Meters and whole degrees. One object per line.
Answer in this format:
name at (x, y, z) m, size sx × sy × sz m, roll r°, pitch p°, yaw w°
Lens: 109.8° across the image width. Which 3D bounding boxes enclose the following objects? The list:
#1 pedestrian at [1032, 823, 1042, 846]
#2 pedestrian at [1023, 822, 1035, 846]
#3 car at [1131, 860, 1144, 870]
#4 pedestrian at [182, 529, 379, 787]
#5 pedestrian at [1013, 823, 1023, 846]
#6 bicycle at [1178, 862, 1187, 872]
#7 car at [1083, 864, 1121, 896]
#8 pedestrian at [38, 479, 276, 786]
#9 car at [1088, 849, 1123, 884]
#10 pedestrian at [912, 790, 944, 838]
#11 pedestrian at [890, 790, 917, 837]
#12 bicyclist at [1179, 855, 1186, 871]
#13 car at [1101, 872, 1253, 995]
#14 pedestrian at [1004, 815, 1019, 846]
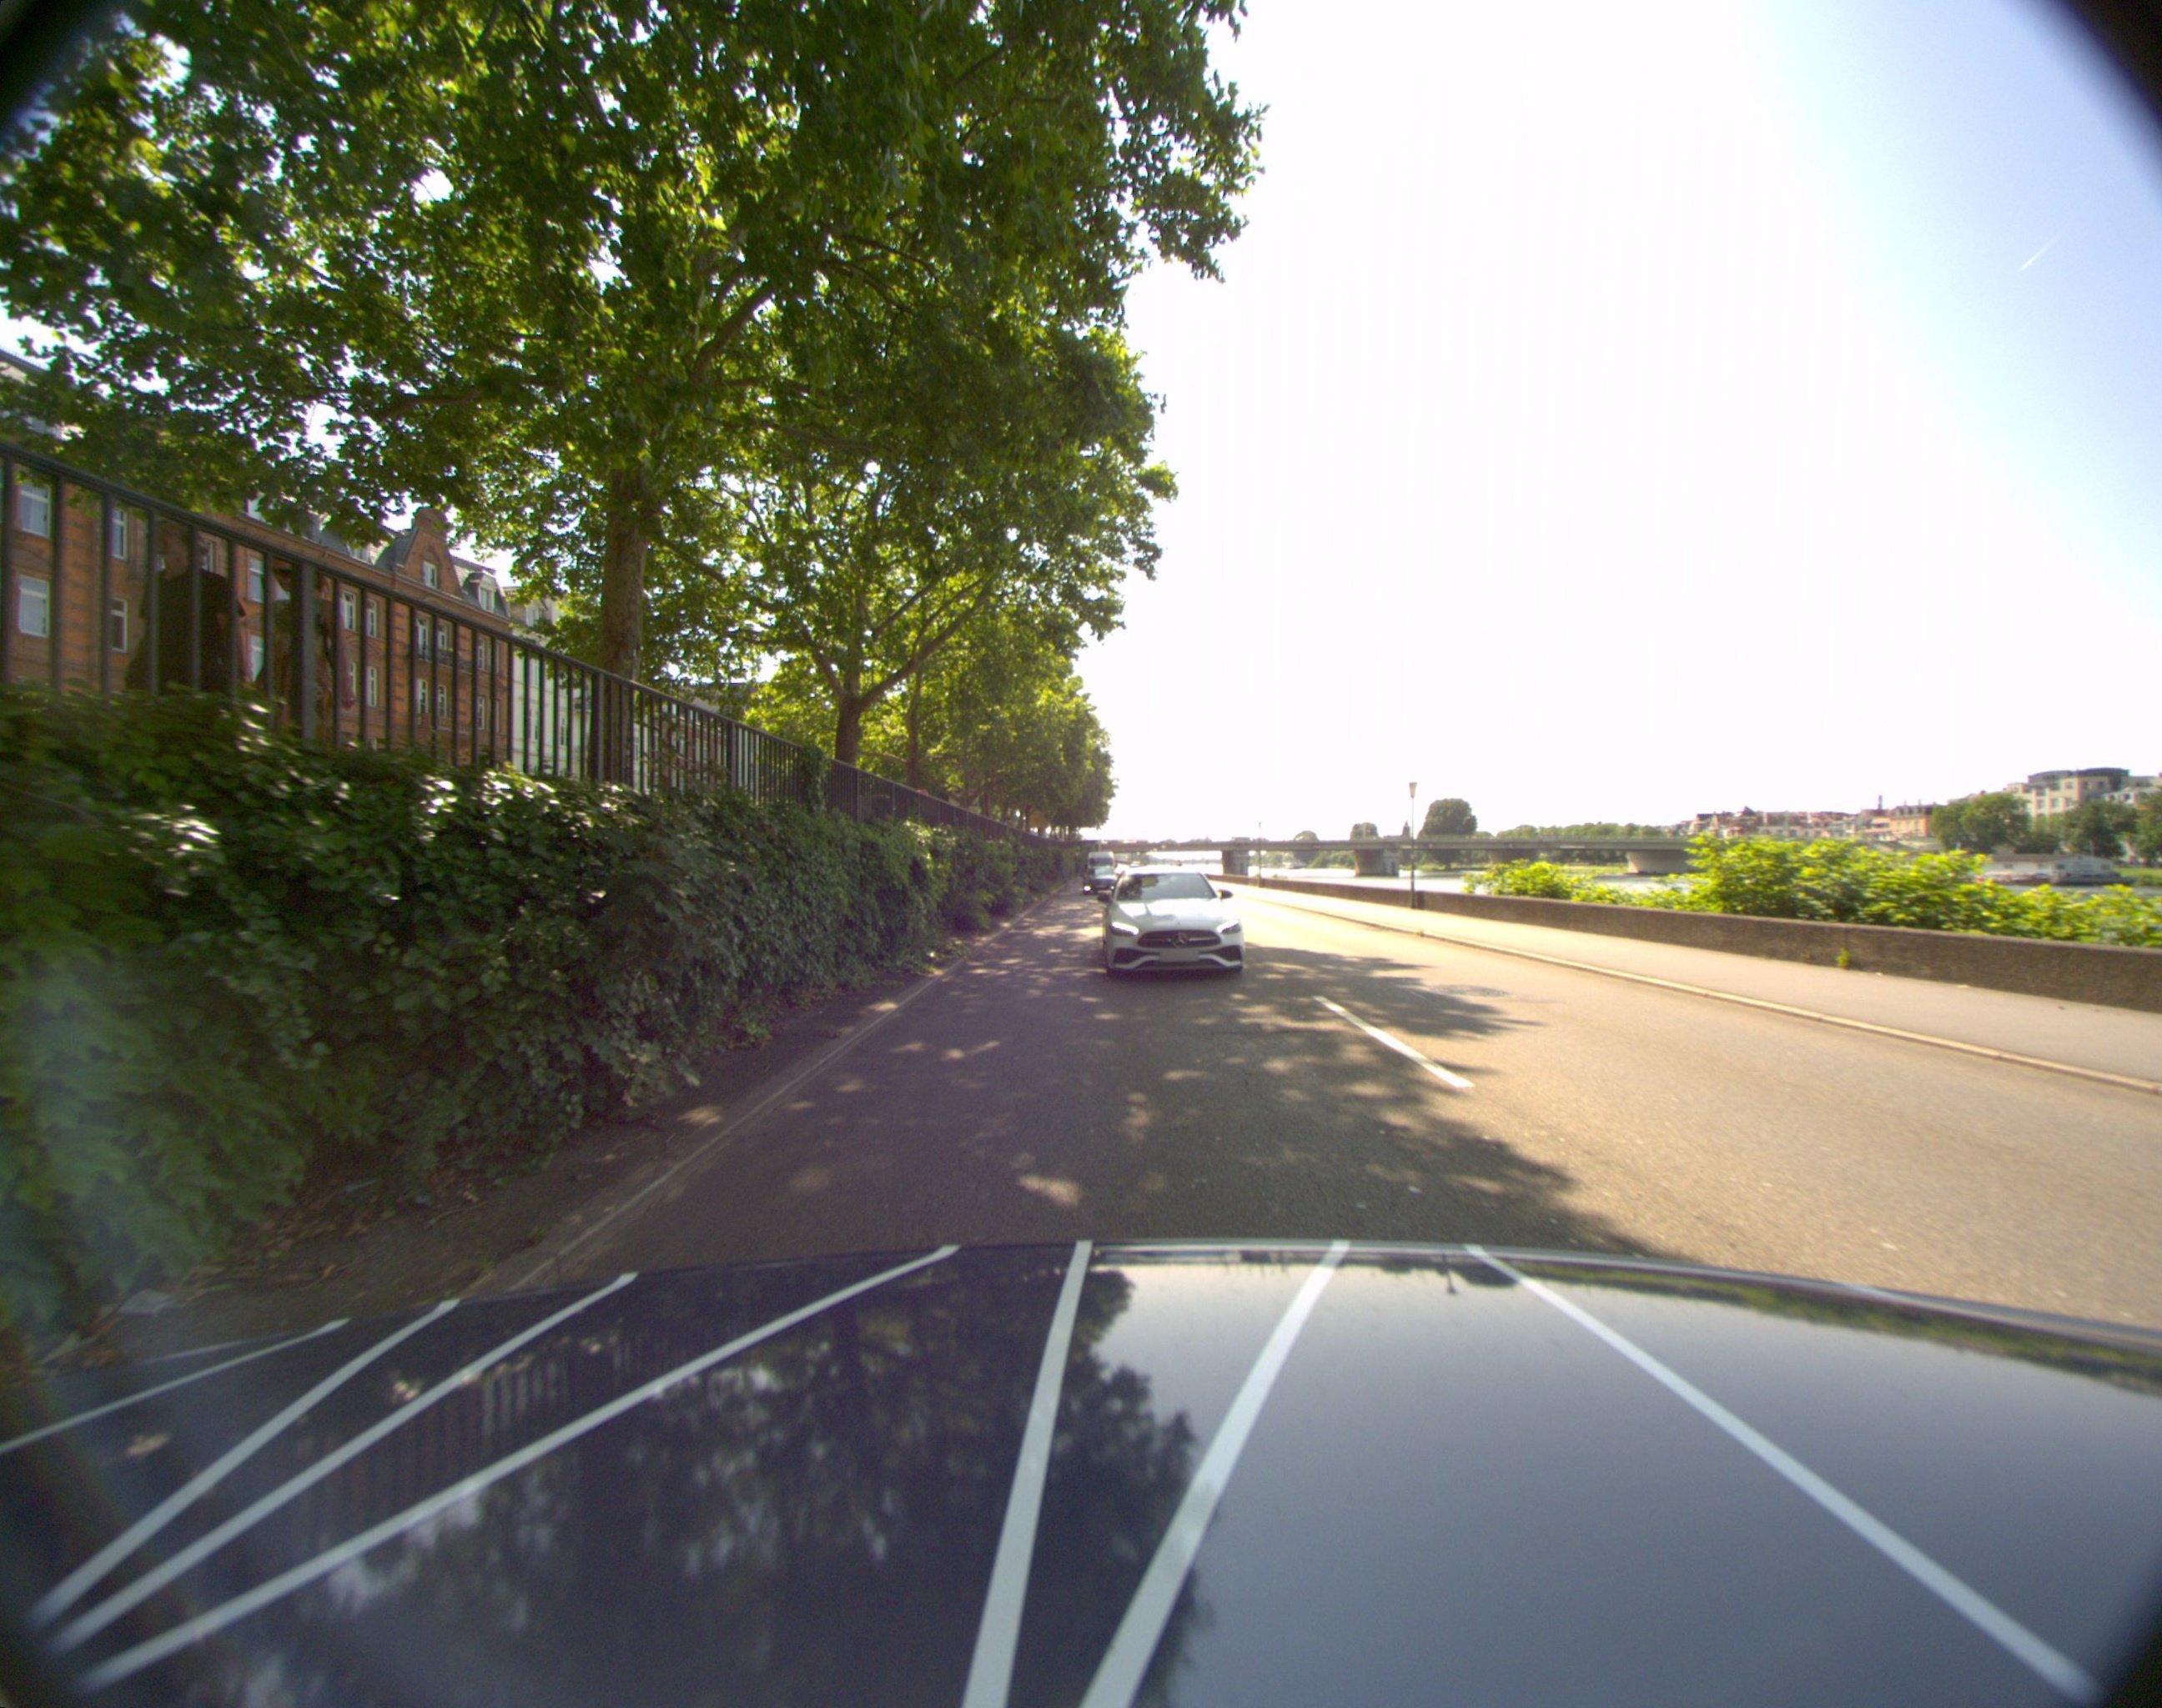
pedestrian at (-3.104, -1.371, 53.282) m, size 0.666 × 1.582 × 0.765 m, roll 0°, pitch 0°, yaw 1°
pedestrian at (-3.564, -1.364, 52.415) m, size 0.738 × 1.582 × 0.811 m, roll 0°, pitch 0°, yaw 1°
car at (8.148, 1.594, 110.469) m, size 1.676 × 1.433 × 3.902 m, roll 0°, pitch 0°, yaw 1°
pedestrian at (-4.872, -1.148, 4.664) m, size 0.586 × 1.411 × 0.589 m, roll 0°, pitch 0°, yaw -7°
pedestrian at (-4.376, -1.330, 52.780) m, size 0.666 × 1.582 × 0.651 m, roll 0°, pitch 0°, yaw 1°
bicycle at (10.783, 1.367, 80.763) m, size 0.654 × 0.977 × 1.944 m, roll -1°, pitch 0°, yaw 1°
car at (1.010, 1.271, 38.566) m, size 1.756 × 1.384 × 4.620 m, roll -3°, pitch 0°, yaw 0°
pedestrian at (-5.490, -1.260, 4.558) m, size 0.649 × 1.630 × 0.626 m, roll 0°, pitch 0°, yaw -7°
car at (1.703, 0.867, 54.507) m, size 2.351 × 2.428 × 6.209 m, roll 0°, pitch 0°, yaw 0°
pedestrian at (-4.134, -1.076, 20.600) m, size 0.713 × 1.236 × 0.742 m, roll 0°, pitch 0°, yaw 0°
pedestrian at (-4.863, -1.091, 20.811) m, size 0.577 × 1.236 × 0.691 m, roll 0°, pitch 0°, yaw 0°
bicyclist at (10.784, 0.952, 80.768) m, size 0.663 × 1.692 × 0.975 m, roll 0°, pitch 0°, yaw 1°
car at (1.244, 1.033, 11.644) m, size 1.830 × 1.411 × 4.553 m, roll -1°, pitch 0°, yaw 1°
pedestrian at (-3.644, -1.242, 39.951) m, size 0.738 × 1.582 × 0.811 m, roll 0°, pitch 0°, yaw 1°
